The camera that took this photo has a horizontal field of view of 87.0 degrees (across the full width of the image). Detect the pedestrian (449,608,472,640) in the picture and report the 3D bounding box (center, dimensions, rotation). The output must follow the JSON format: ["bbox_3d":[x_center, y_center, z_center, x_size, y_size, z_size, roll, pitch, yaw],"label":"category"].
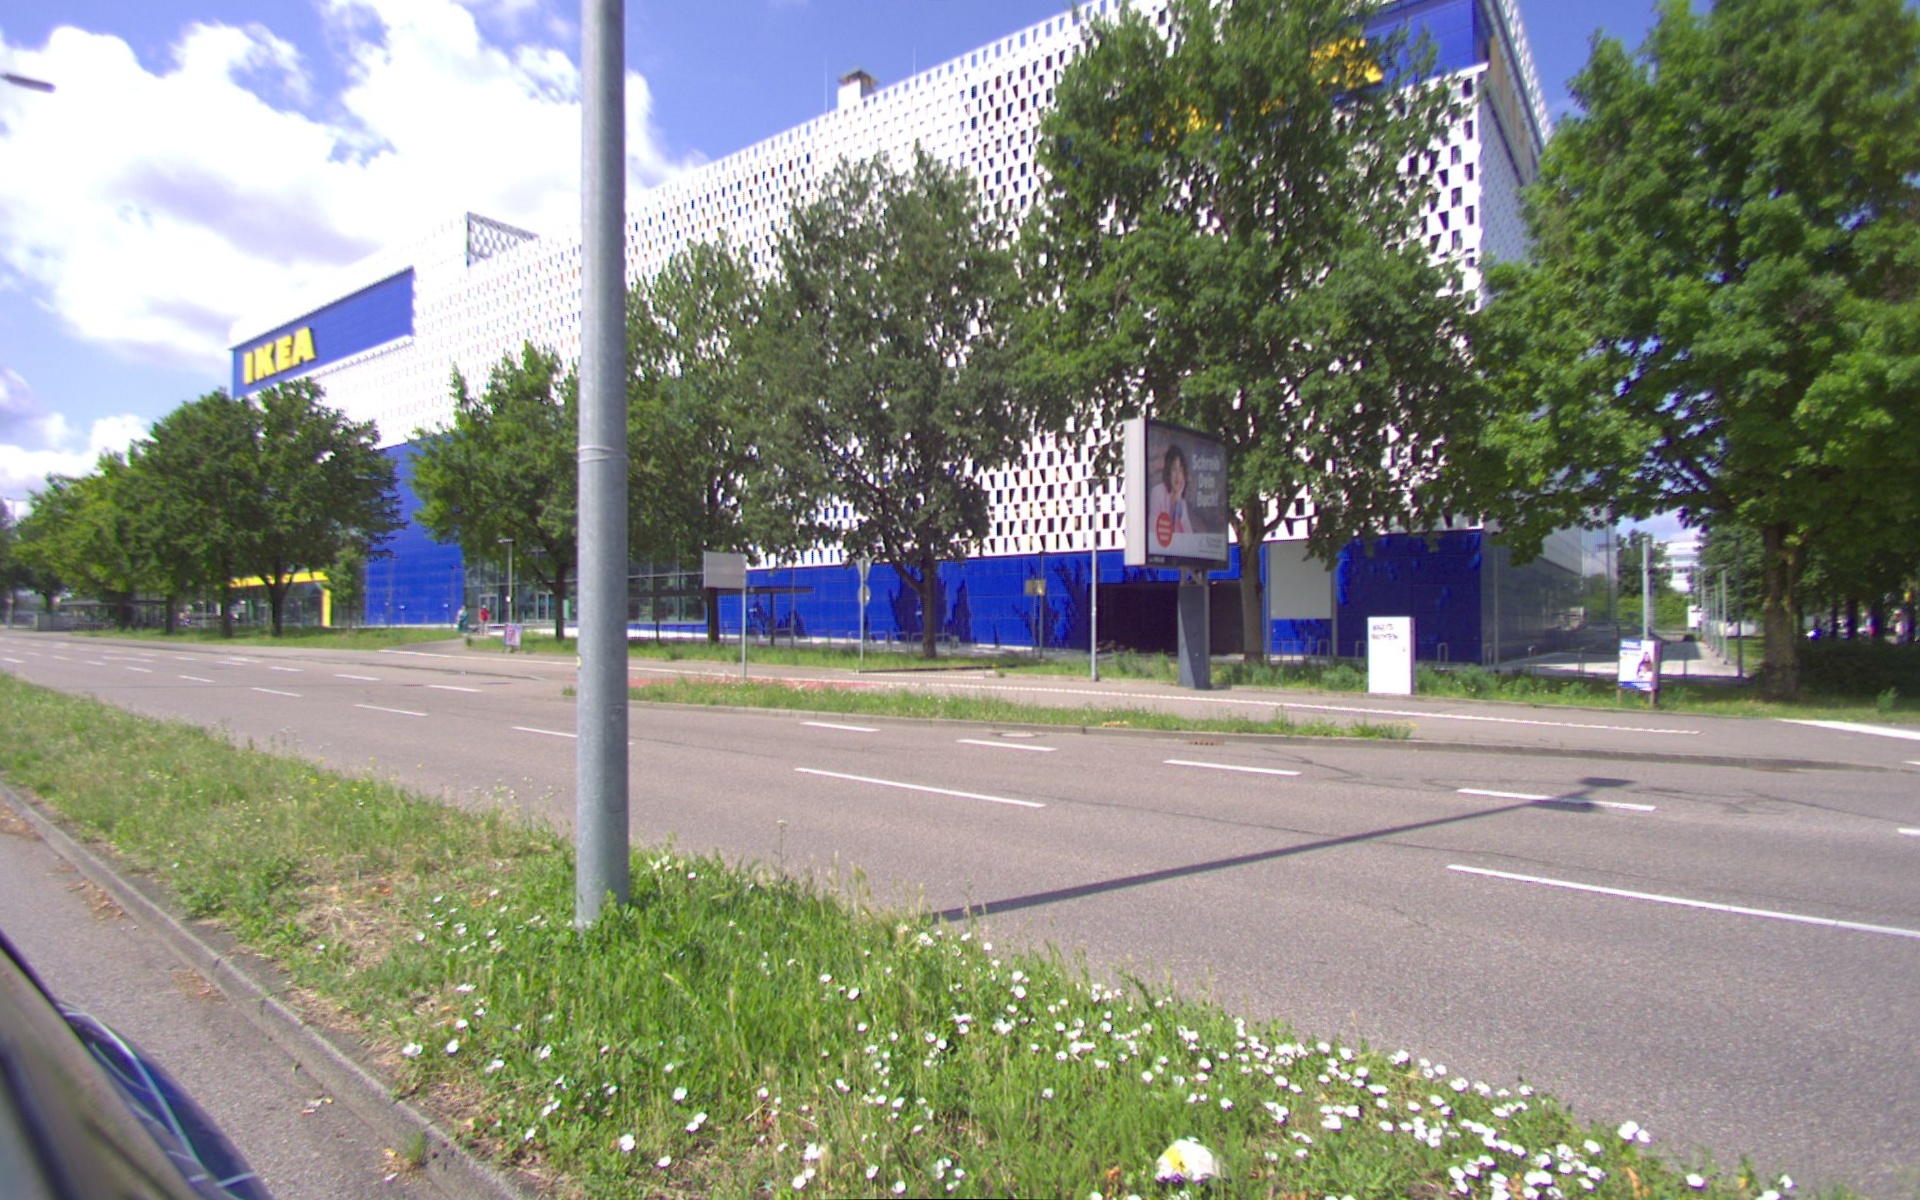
[{"bbox_3d":[-28.542,1.358,57.797,1.165,1.741,0.842,0,0,43],"label":"pedestrian"}]

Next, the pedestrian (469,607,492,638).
[{"bbox_3d":[-27.744,1.288,58.580,1.165,1.741,0.842,0,0,43],"label":"pedestrian"}]
